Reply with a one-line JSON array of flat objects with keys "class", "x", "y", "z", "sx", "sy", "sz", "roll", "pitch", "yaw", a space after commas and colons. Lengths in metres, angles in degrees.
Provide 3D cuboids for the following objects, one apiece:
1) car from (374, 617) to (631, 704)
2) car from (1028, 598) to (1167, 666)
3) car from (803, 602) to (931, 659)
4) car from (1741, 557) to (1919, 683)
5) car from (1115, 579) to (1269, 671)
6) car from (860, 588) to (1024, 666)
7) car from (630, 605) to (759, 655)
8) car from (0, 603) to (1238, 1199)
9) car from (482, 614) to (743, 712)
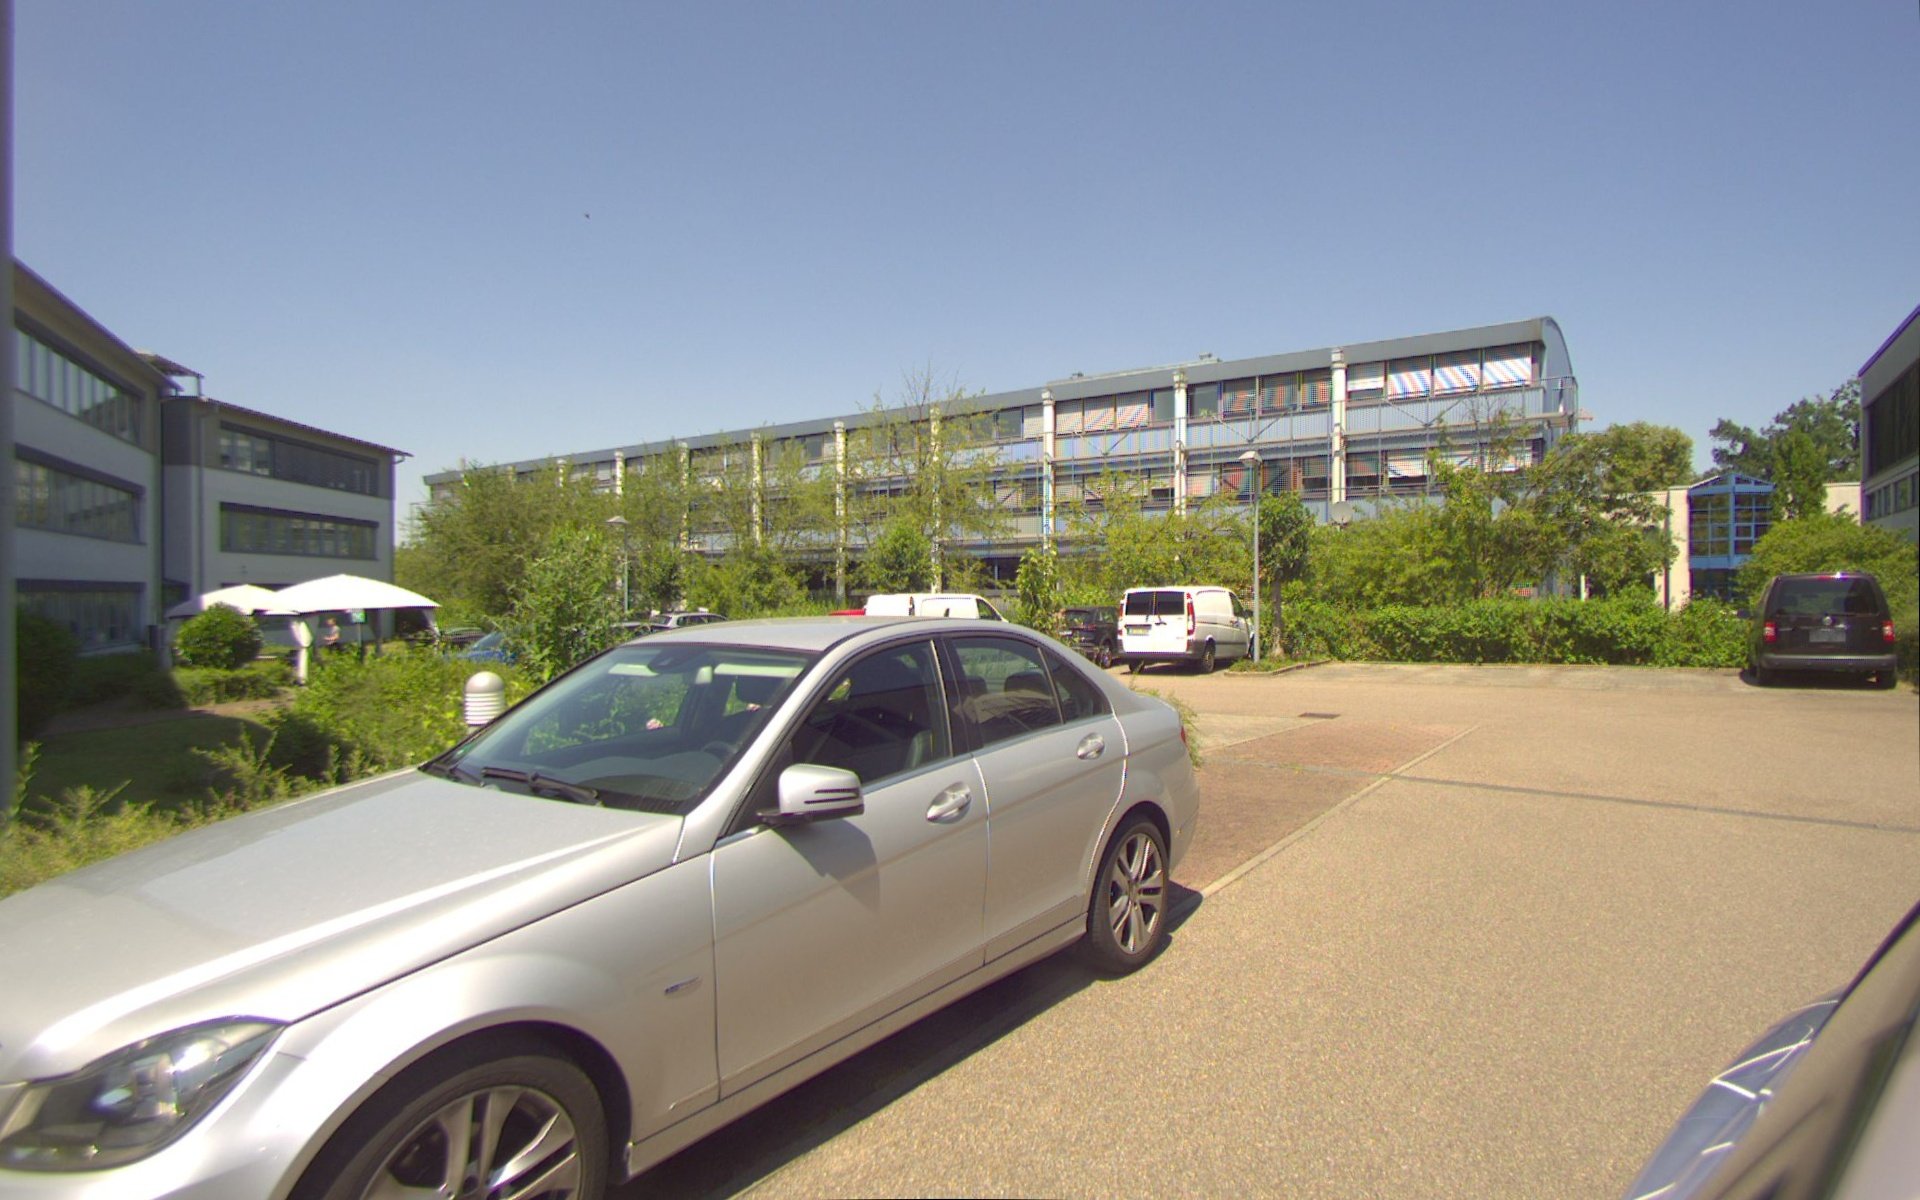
[{"class": "car", "x": -9.256, "y": 1.152, "z": 20.850, "sx": 1.844, "sy": 1.513, "sz": 4.555, "roll": -2, "pitch": -1, "yaw": 35}, {"class": "car", "x": 3.503, "y": 0.743, "z": 25.210, "sx": 1.728, "sy": 1.503, "sz": 4.146, "roll": -2, "pitch": 0, "yaw": 34}, {"class": "car", "x": -2.703, "y": 0.867, "z": 30.055, "sx": 1.615, "sy": 1.507, "sz": 3.869, "roll": -2, "pitch": 0, "yaw": 37}, {"class": "car", "x": 14.760, "y": 0.301, "z": 17.362, "sx": 1.856, "sy": 1.883, "sz": 4.177, "roll": -2, "pitch": 0, "yaw": 34}, {"class": "car", "x": 5.441, "y": 0.504, "z": 23.269, "sx": 1.856, "sy": 1.883, "sz": 4.619, "roll": -2, "pitch": 0, "yaw": 34}, {"class": "car", "x": -0.386, "y": 0.662, "z": 27.508, "sx": 1.846, "sy": 1.879, "sz": 4.870, "roll": -2, "pitch": 0, "yaw": 37}, {"class": "car", "x": -8.954, "y": 0.986, "z": 34.349, "sx": 1.730, "sy": 1.503, "sz": 4.030, "roll": -2, "pitch": 0, "yaw": 38}, {"class": "car", "x": -0.749, "y": 0.756, "z": 3.588, "sx": 1.795, "sy": 1.416, "sz": 4.359, "roll": -1, "pitch": 0, "yaw": 38}, {"class": "car", "x": -6.321, "y": 1.080, "z": 18.874, "sx": 1.844, "sy": 1.539, "sz": 4.372, "roll": -2, "pitch": -1, "yaw": 35}]
